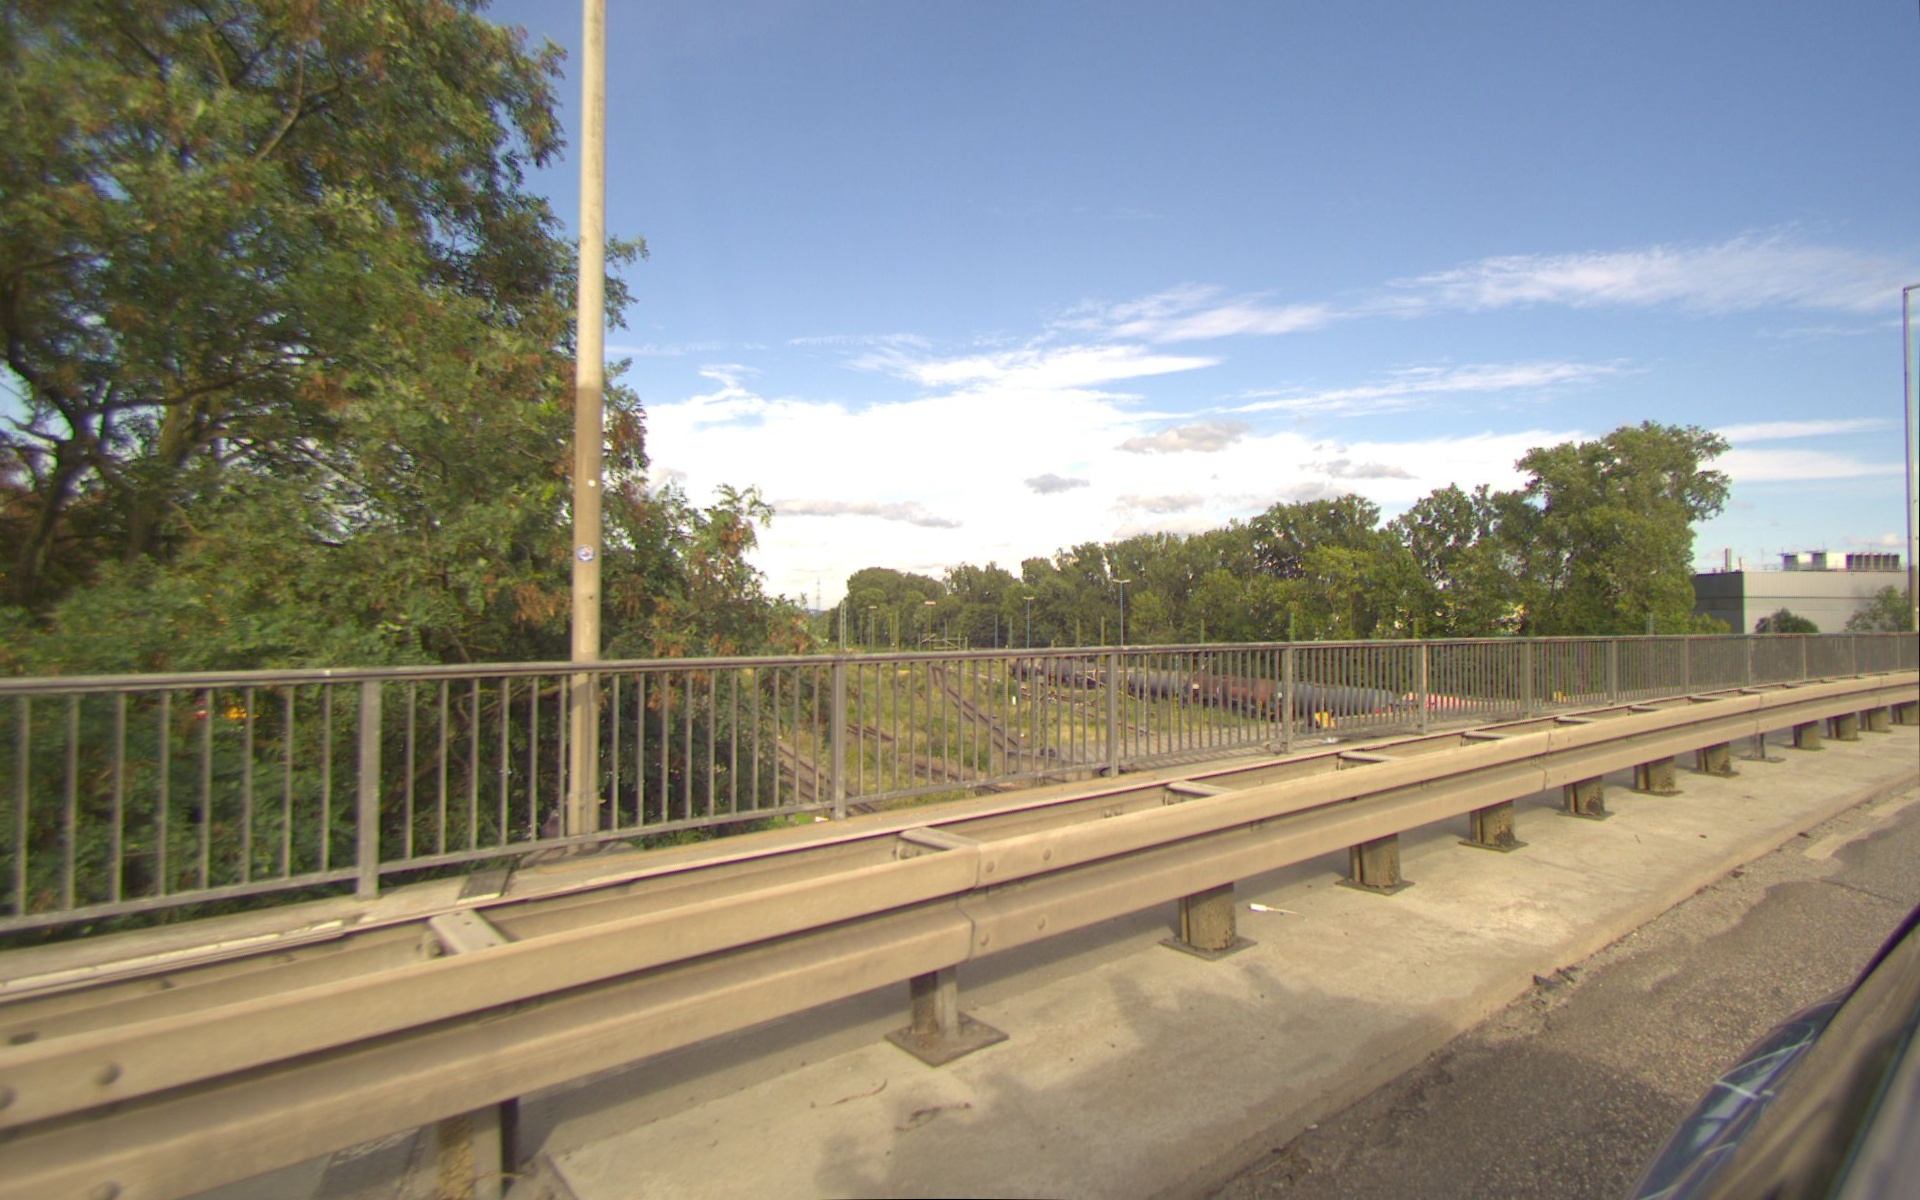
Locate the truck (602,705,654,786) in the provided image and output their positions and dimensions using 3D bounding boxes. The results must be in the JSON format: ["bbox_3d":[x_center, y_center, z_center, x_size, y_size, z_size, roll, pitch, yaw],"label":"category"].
[{"bbox_3d":[-19.832,8.536,60.248,2.610,3.663,7.249,2,0,-19],"label":"truck"}]
